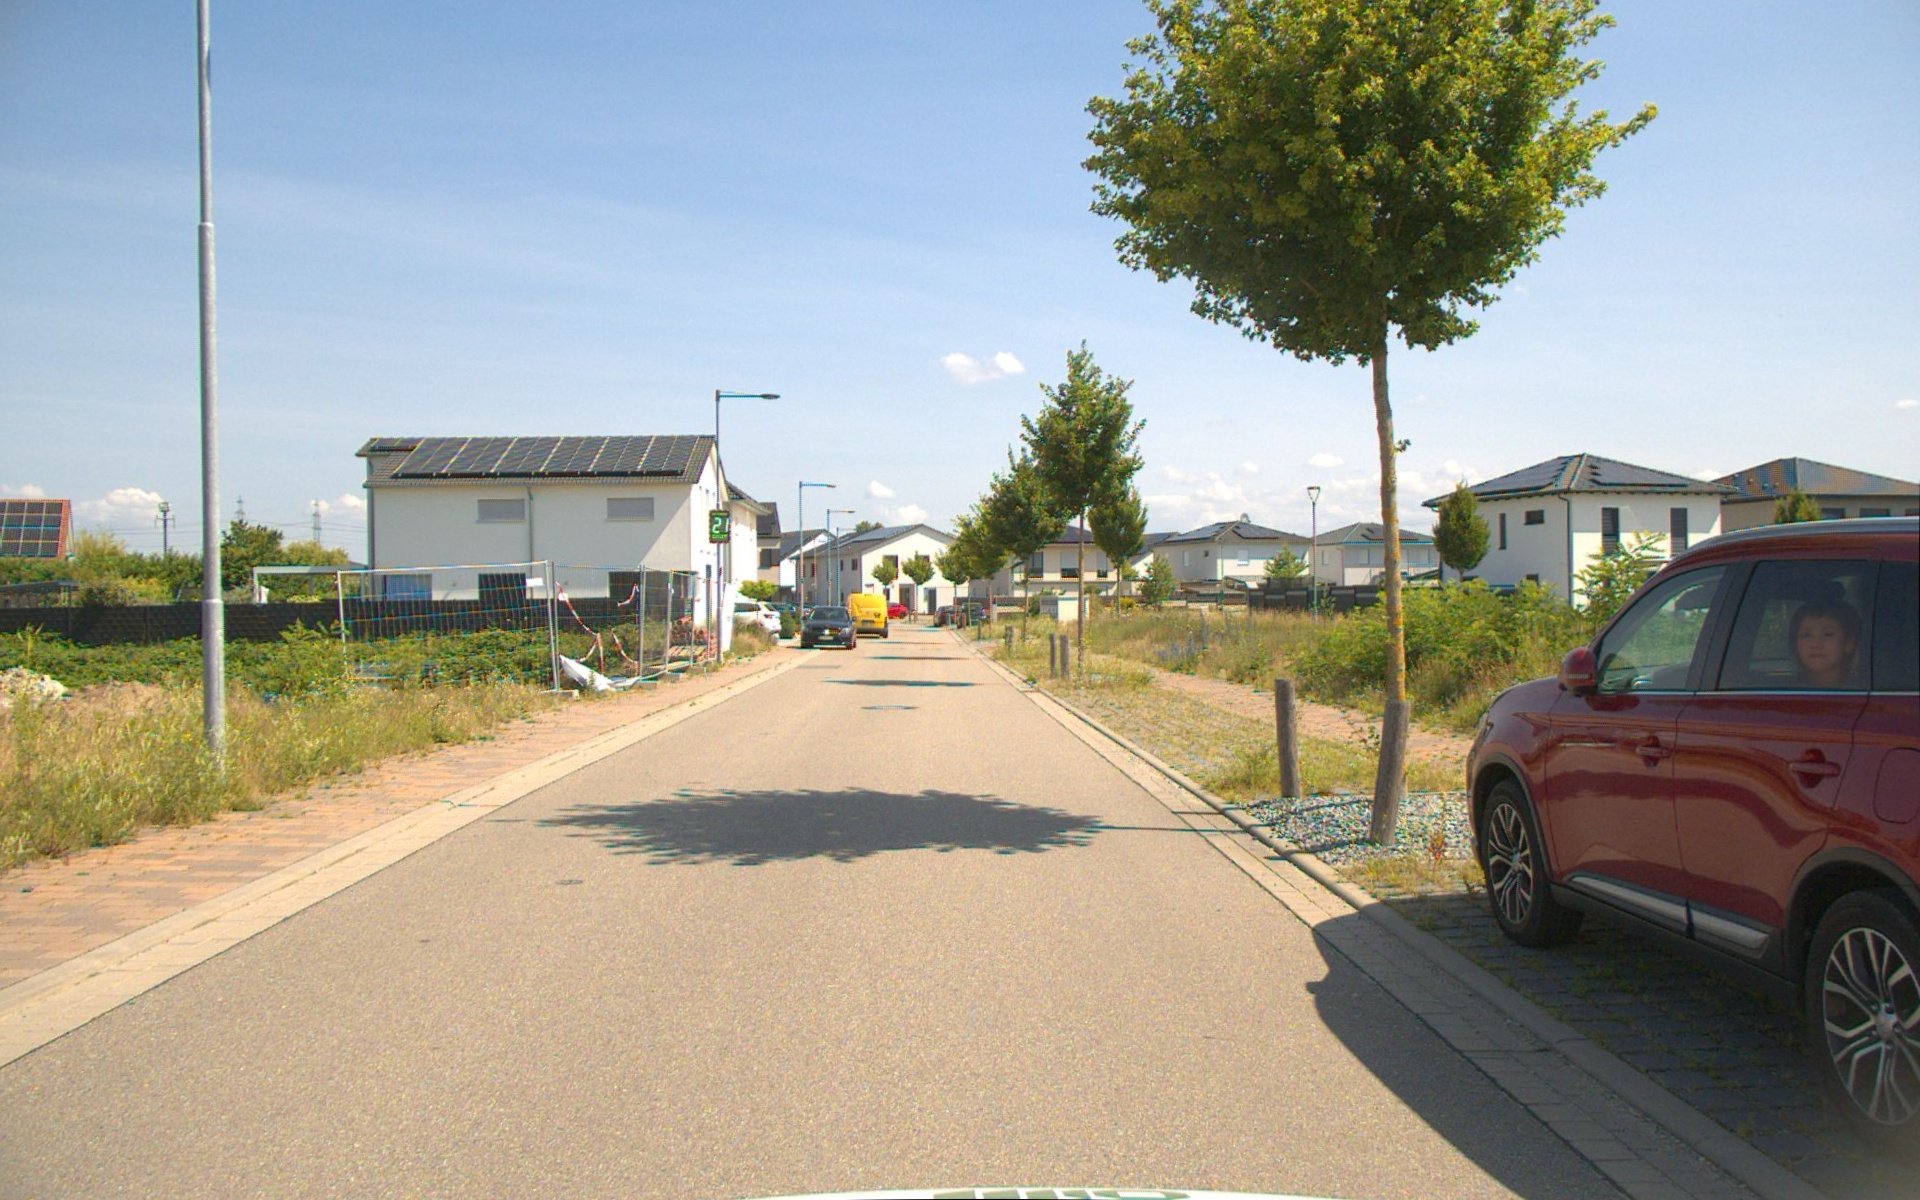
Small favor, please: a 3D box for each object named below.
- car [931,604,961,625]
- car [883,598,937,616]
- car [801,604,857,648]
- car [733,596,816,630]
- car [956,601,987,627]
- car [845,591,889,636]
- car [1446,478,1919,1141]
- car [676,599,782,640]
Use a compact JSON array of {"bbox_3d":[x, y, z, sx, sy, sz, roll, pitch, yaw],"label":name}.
[{"bbox_3d":[-1.006,1.022,116.109,1.597,1.346,3.826,-1,-2,-8],"label":"car"},{"bbox_3d":[-4.467,0.639,148.183,4.656,1.457,1.971,1,-3,-40],"label":"car"},{"bbox_3d":[-4.485,0.871,57.155,1.710,1.429,4.158,2,0,-2],"label":"car"},{"bbox_3d":[-9.866,0.694,87.885,4.096,1.531,1.806,4,-1,-18],"label":"car"},{"bbox_3d":[0.653,0.830,97.544,1.606,1.427,3.808,-1,-2,-3],"label":"car"},{"bbox_3d":[-4.372,0.661,77.317,1.904,2.016,4.212,-1,-1,-5],"label":"car"},{"bbox_3d":[3.251,0.497,5.549,1.741,1.692,4.432,-2,0,-2],"label":"car"},{"bbox_3d":[-9.420,0.784,67.519,3.983,1.609,1.785,1,1,4],"label":"car"}]
